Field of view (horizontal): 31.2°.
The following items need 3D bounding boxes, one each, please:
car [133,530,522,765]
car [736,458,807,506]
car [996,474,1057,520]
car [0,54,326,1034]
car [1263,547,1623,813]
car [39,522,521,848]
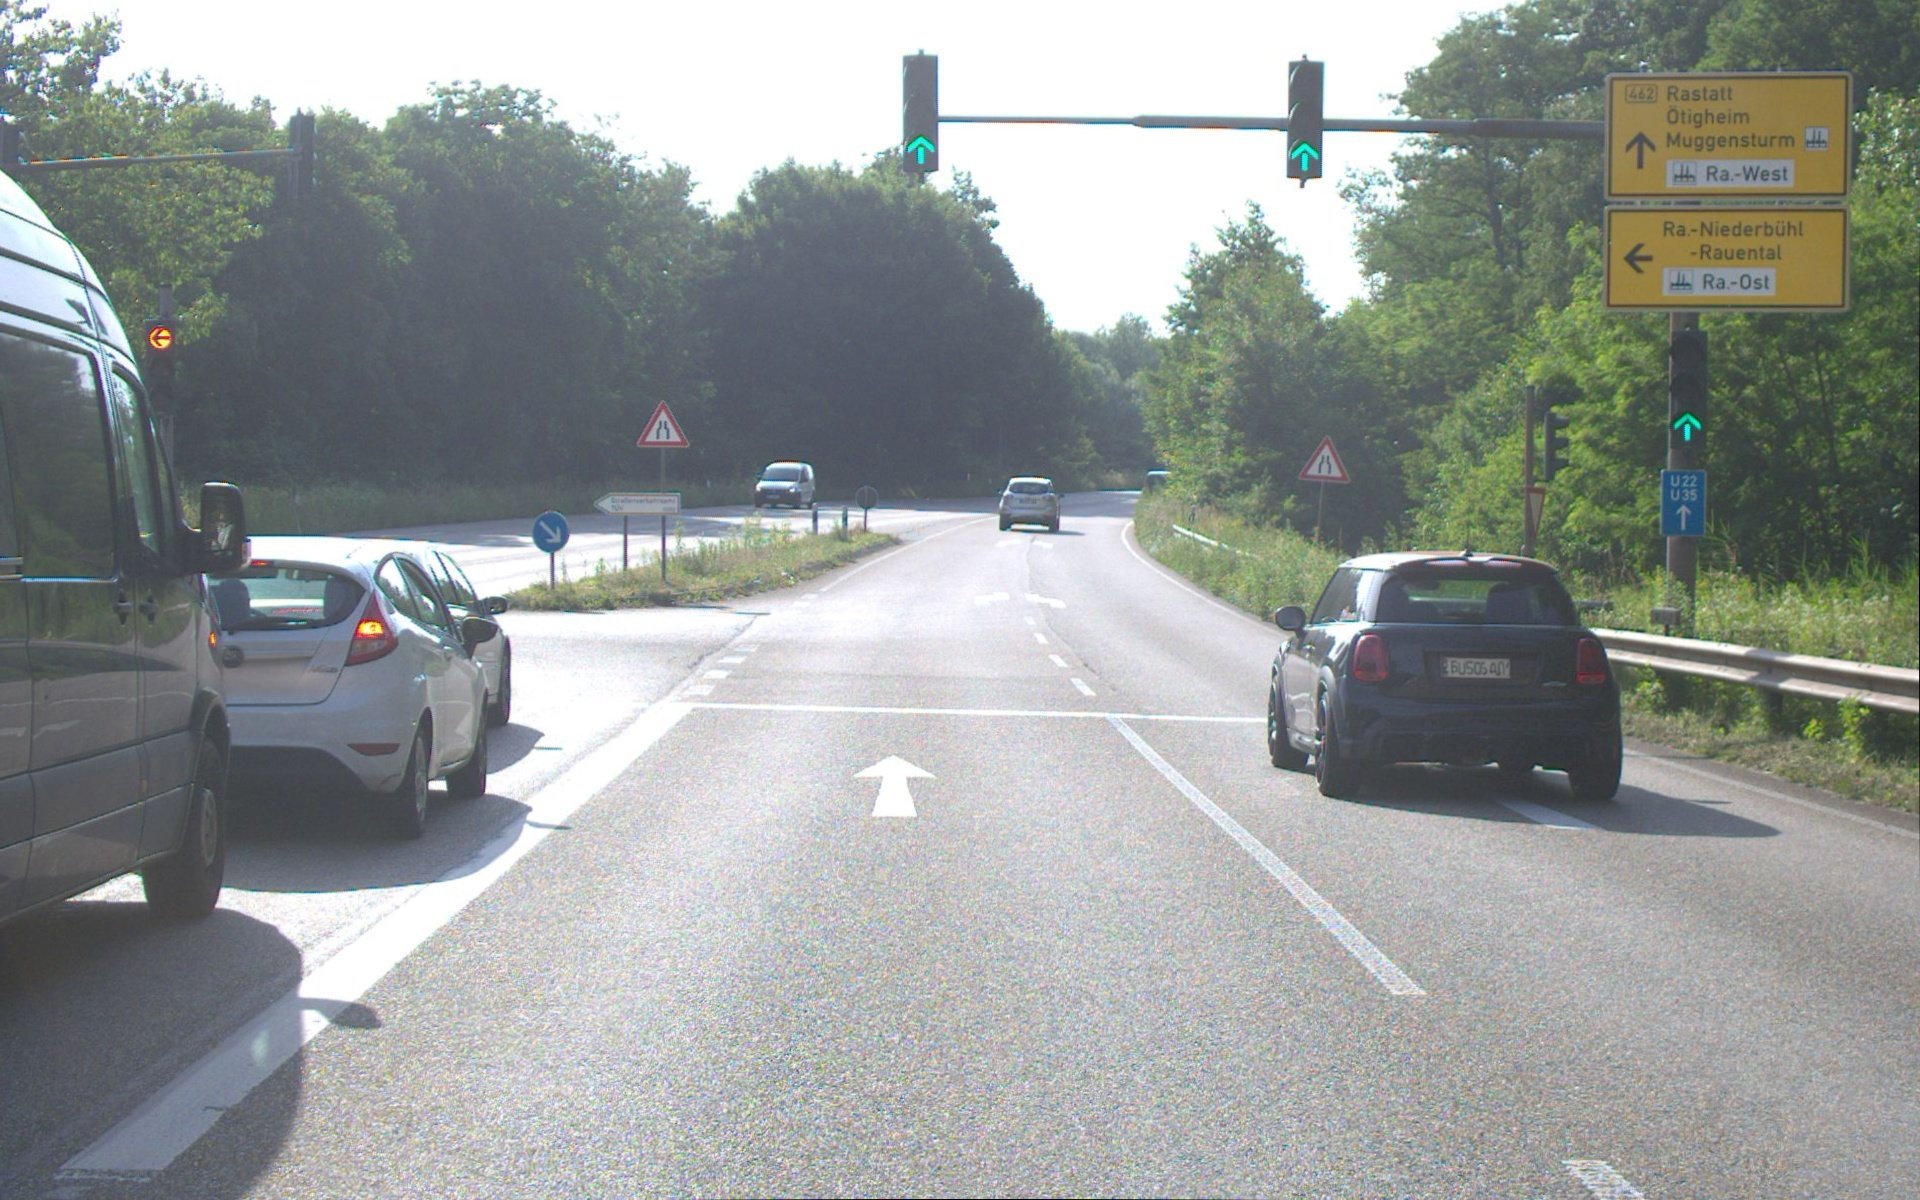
[{"bbox_3d":[-4.197,0.245,23.547,1.735,1.416,4.802,0,1,0],"label":"car"},{"bbox_3d":[-7.536,-4.727,137.592,1.851,1.780,4.668,2,1,9],"label":"car"},{"bbox_3d":[2.158,-3.282,110.205,1.761,1.375,3.971,2,1,3],"label":"car"},{"bbox_3d":[-3.895,-0.179,10.819,2.210,2.878,7.011,0,1,2],"label":"car"},{"bbox_3d":[2.896,0.418,21.347,1.820,1.462,3.873,1,1,2],"label":"car"},{"bbox_3d":[-3.379,0.342,17.818,1.645,1.484,4.104,0,1,0],"label":"car"}]
